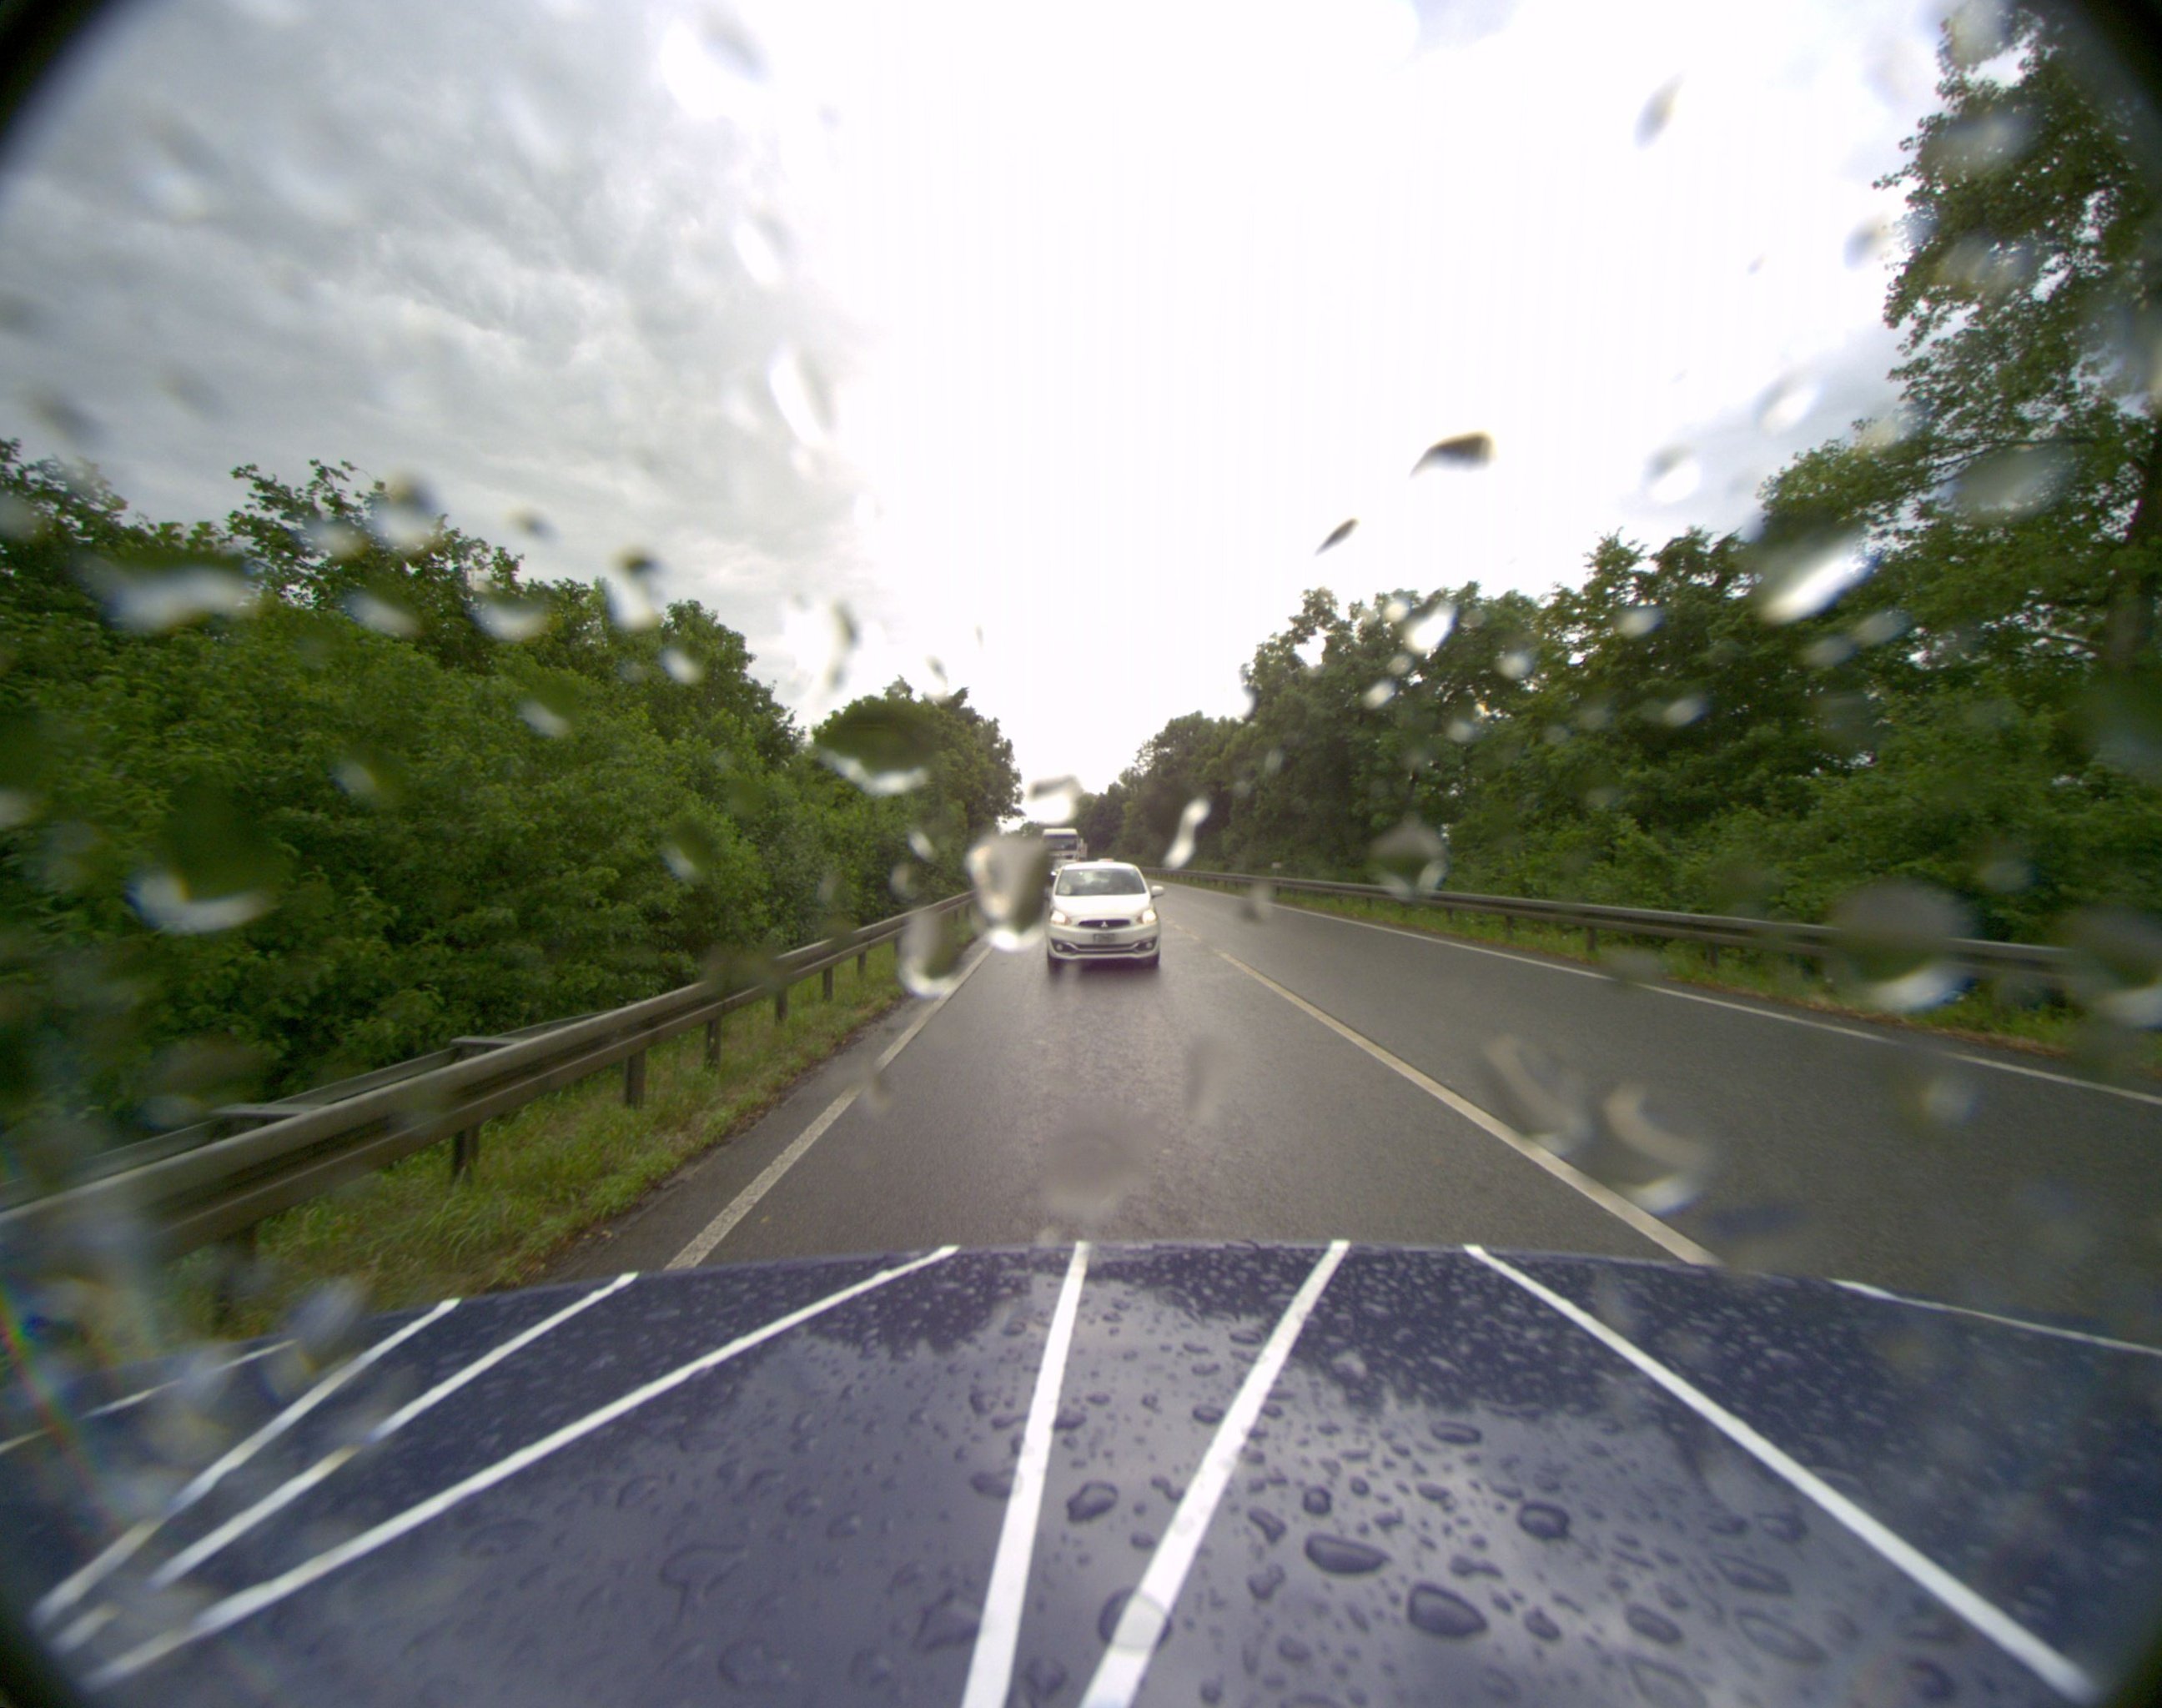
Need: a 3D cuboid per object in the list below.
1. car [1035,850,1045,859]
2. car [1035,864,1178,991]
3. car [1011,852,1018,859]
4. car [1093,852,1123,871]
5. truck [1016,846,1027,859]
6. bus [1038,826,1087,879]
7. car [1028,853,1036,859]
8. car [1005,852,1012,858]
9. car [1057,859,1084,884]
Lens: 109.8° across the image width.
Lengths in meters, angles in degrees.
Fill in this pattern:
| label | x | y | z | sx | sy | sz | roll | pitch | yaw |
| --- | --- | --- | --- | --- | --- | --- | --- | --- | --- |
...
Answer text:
| label | x | y | z | sx | sy | sz | roll | pitch | yaw |
| --- | --- | --- | --- | --- | --- | --- | --- | --- | --- |
| car | -7.500 | 0.067 | 138.600 | 1.422 | 1.611 | 3.476 | -2 | 0 | -12 |
| car | 0.201 | 0.926 | 11.385 | 1.701 | 1.471 | 4.061 | -2 | 0 | -4 |
| car | -15.760 | 0.335 | 180.120 | 1.535 | 1.459 | 3.072 | -2 | 0 | -10 |
| car | 2.107 | 0.605 | 60.625 | 1.820 | 1.445 | 4.045 | -2 | 0 | -6 |
| truck | -13.178 | -0.339 | 168.590 | 1.481 | 2.860 | 5.679 | -2 | 0 | -12 |
| bus | -1.599 | -0.109 | 56.713 | 3.064 | 3.405 | 13.636 | -2 | 0 | -3 |
| car | -9.753 | 0.419 | 150.189 | 1.146 | 1.123 | 2.549 | -2 | 0 | -12 |
| car | -18.734 | 0.317 | 196.370 | 1.535 | 1.459 | 3.072 | -2 | 0 | -10 |
| car | -0.621 | 0.989 | 43.549 | 1.476 | 1.410 | 3.428 | -1 | -1 | -2 |
